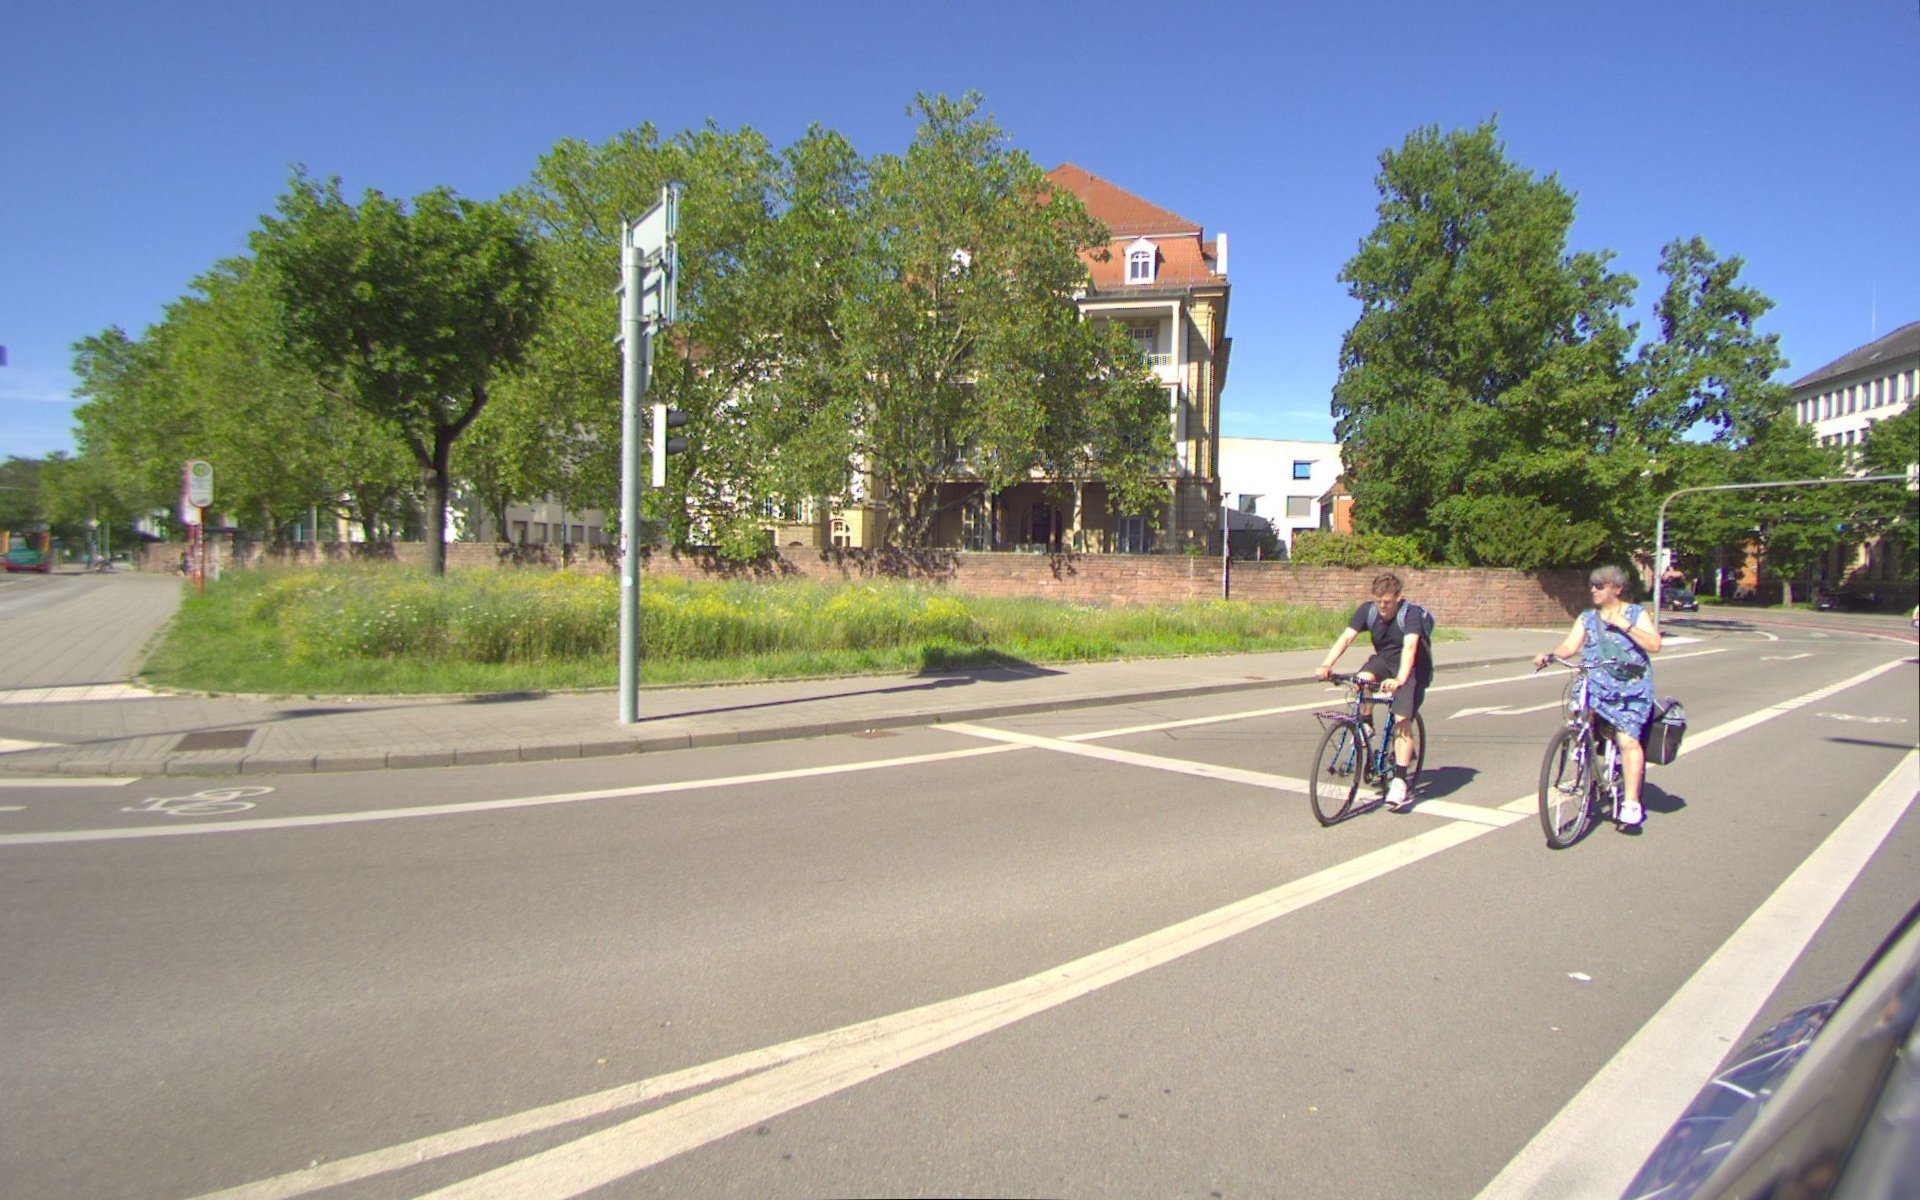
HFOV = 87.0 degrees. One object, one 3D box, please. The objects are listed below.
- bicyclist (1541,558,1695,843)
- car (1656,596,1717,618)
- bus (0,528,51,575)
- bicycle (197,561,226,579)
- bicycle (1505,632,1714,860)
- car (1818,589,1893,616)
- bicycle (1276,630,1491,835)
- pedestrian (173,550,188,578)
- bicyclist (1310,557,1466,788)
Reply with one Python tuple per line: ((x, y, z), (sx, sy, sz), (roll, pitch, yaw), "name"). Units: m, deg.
((4.201, 0.579, 6.458), (0.763, 1.683, 0.642), (-1, 1, -42), "bicyclist")
((51.775, 0.471, 72.179), (1.970, 1.491, 4.281), (-1, 0, 13), "car")
((-72.649, -3.672, 78.348), (6.234, 3.314, 2.941), (0, 0, 44), "bus")
((-45.986, -1.827, 62.161), (2.071, 1.090, 0.786), (0, 0, 34), "bicycle")
((4.194, 0.834, 6.471), (1.934, 1.179, 0.642), (0, 1, -42), "bicycle")
((67.362, 0.174, 76.190), (3.730, 1.838, 2.000), (1, 1, 2), "car")
((2.954, 0.825, 6.964), (1.838, 1.180, 0.642), (0, 0, -42), "bicycle")
((-46.798, -2.139, 60.756), (0.642, 1.631, 0.557), (0, 0, -43), "pedestrian")
((2.947, 0.457, 6.955), (0.937, 1.462, 0.642), (1, 0, -42), "bicyclist")
